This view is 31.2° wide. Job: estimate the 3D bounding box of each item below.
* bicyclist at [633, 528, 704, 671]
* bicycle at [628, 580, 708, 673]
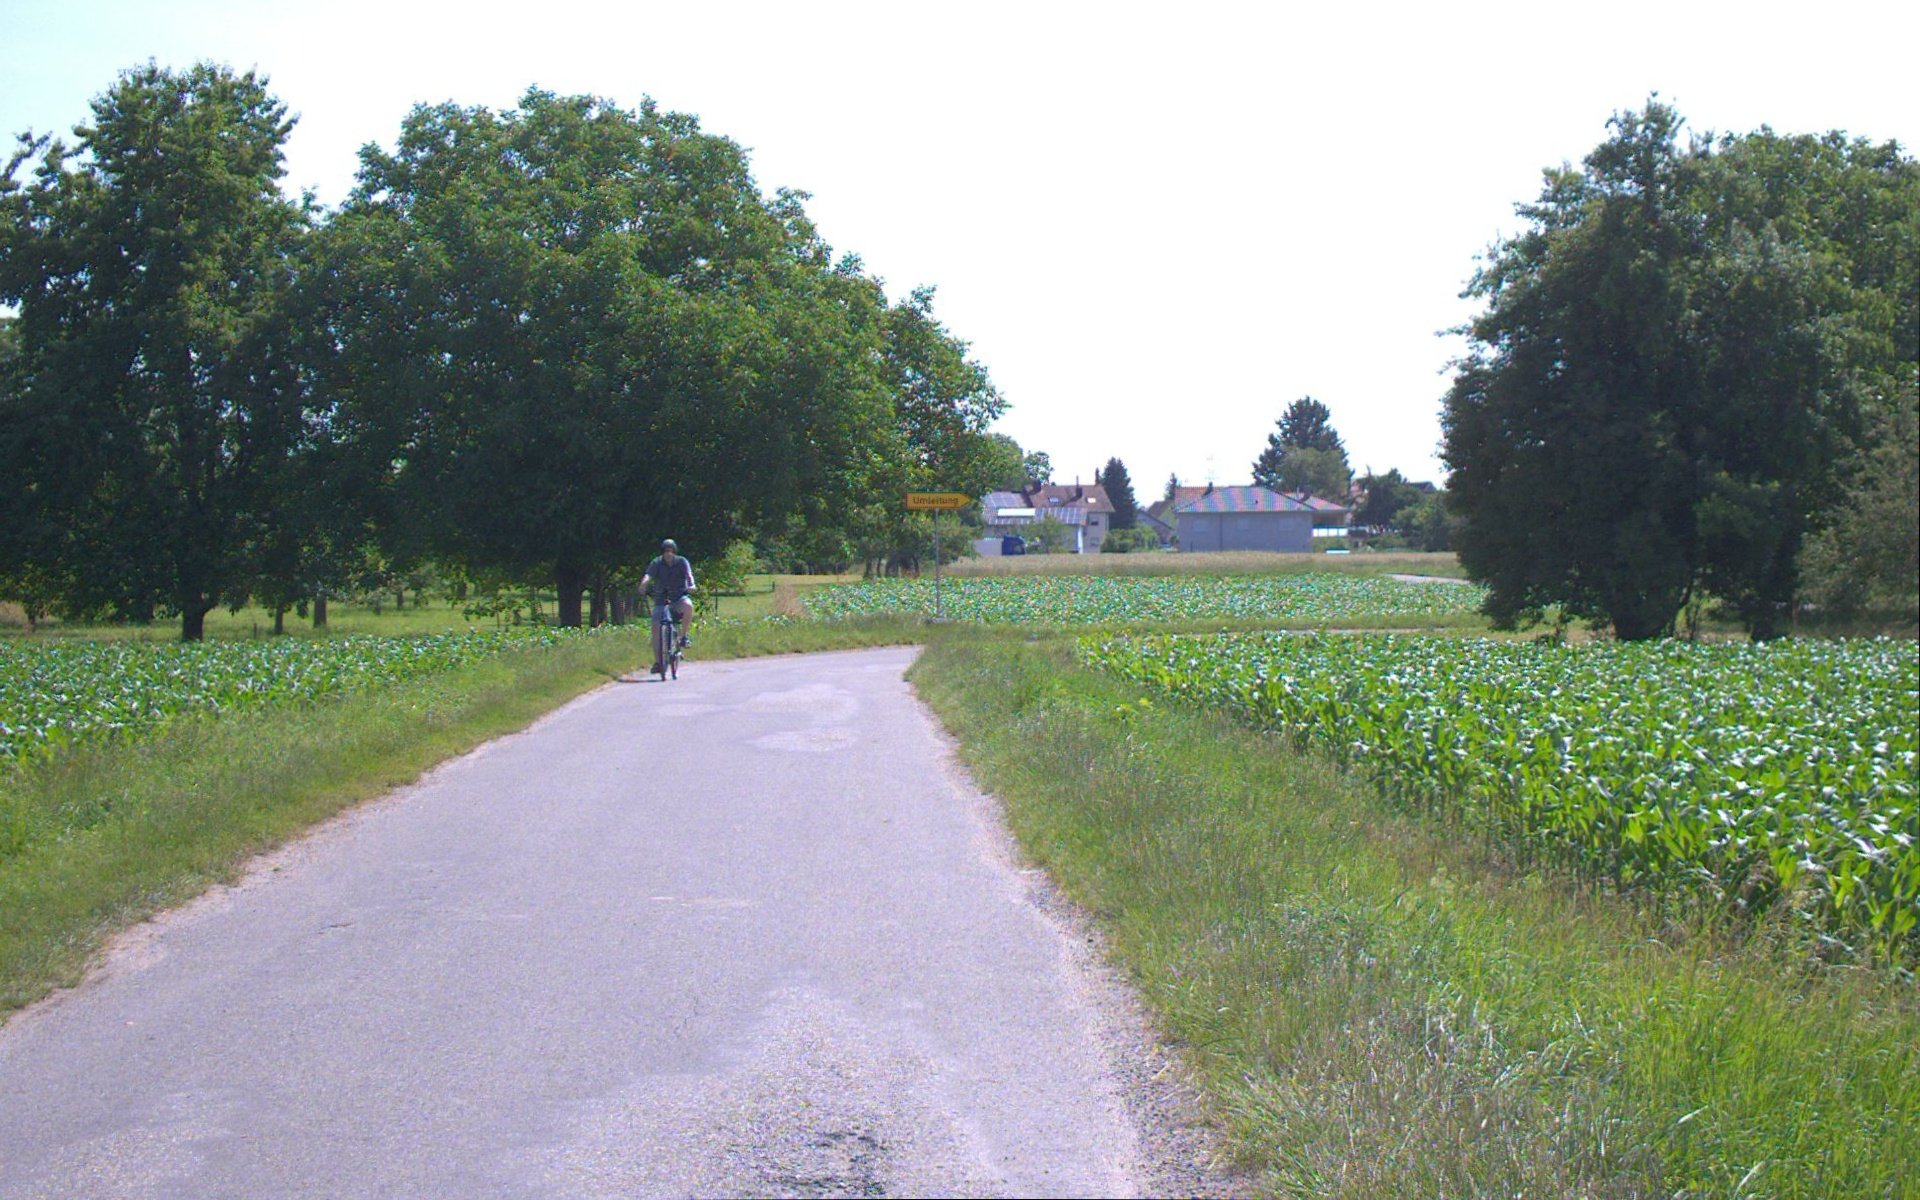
[{"bbox_3d":[-3.741,-0.012,44.100,0.750,1.785,0.717,-2,1,2],"label":"bicyclist"},{"bbox_3d":[-3.732,0.325,44.100,0.750,1.123,1.908,-2,1,2],"label":"bicycle"}]
